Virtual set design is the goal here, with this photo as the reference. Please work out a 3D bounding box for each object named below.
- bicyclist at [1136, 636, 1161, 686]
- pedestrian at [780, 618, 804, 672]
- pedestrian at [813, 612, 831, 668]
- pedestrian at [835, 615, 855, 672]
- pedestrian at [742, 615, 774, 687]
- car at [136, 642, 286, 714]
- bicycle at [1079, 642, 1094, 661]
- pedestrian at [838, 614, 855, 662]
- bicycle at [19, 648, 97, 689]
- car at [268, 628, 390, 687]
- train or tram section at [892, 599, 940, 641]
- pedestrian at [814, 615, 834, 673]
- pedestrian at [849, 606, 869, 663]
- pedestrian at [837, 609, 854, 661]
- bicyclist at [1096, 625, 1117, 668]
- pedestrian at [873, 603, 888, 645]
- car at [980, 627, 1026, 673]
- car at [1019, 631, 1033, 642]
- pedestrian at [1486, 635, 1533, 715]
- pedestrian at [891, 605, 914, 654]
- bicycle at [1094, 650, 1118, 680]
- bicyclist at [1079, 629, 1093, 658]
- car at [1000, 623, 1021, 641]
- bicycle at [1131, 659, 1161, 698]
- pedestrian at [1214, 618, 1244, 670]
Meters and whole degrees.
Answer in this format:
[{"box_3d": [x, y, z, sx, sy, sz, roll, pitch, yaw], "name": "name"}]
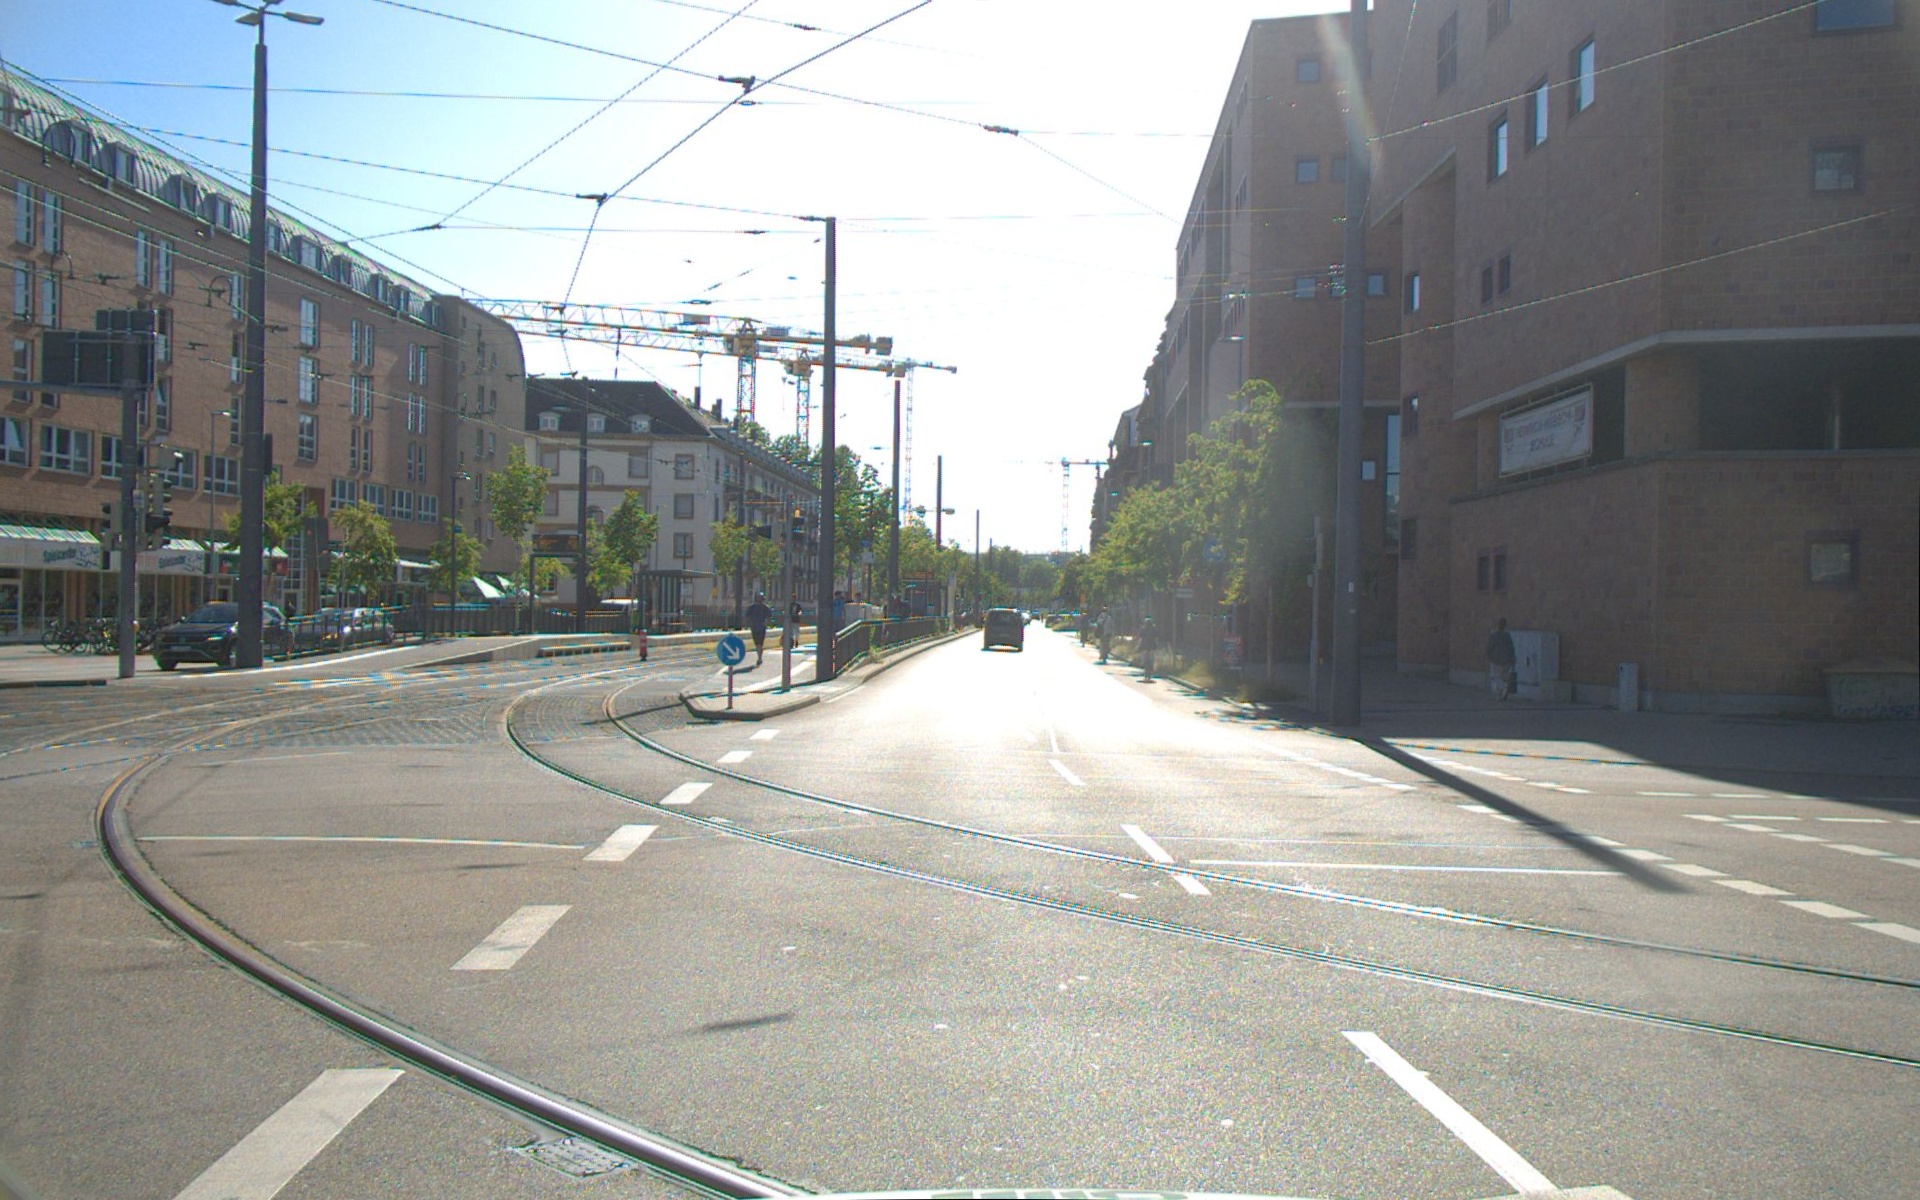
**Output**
[{"box_3d": [5.227, 1.678, 45.960, 0.580, 1.359, 0.933, 1, -1, 0], "name": "bicyclist"}, {"box_3d": [-5.031, 1.344, 49.607, 0.588, 1.594, 0.914, 1, -1, 0], "name": "pedestrian"}, {"box_3d": [-4.496, 1.311, 53.884, 0.527, 1.805, 0.633, 1, -1, 0], "name": "pedestrian"}, {"box_3d": [-3.434, 1.304, 49.471, 0.527, 1.684, 0.896, 1, -1, 0], "name": "pedestrian"}, {"box_3d": [-4.852, 1.213, 39.741, 0.602, 1.698, 0.864, -2, 0, -1], "name": "pedestrian"}, {"box_3d": [-17.548, 1.799, 38.939, 1.576, 1.422, 3.920, -3, 0, 2], "name": "car"}, {"box_3d": [6.941, 2.835, 90.760, 0.653, 1.002, 2.585, 1, -1, 0], "name": "bicycle"}, {"box_3d": [-3.990, 1.327, 58.198, 0.527, 1.684, 0.633, 1, -1, 0], "name": "pedestrian"}, {"box_3d": [-30.662, 2.311, 56.226, 2.431, 1.333, 0.734, 1, -1, 12], "name": "bicycle"}, {"box_3d": [-17.497, 1.555, 46.052, 1.576, 1.422, 4.228, -3, 0, 2], "name": "car"}, {"box_3d": [-3.400, 1.588, 131.621, 2.277, 3.056, 13.167, 2, -1, 5], "name": "train or tram section"}, {"box_3d": [-4.049, 1.308, 49.296, 0.500, 1.684, 0.761, 1, -1, 0], "name": "pedestrian"}, {"box_3d": [-3.023, 1.043, 49.652, 0.527, 1.684, 0.706, 1, -1, 0], "name": "pedestrian"}, {"box_3d": [-3.529, 1.085, 51.051, 0.508, 1.578, 0.600, 1, -1, -2], "name": "pedestrian"}, {"box_3d": [5.329, 1.692, 60.162, 0.653, 1.554, 0.707, 1, -1, 0], "name": "bicyclist"}, {"box_3d": [-3.248, 0.972, 67.626, 0.588, 1.684, 0.666, 1, -1, 0], "name": "pedestrian"}, {"box_3d": [1.903, 2.197, 73.761, 1.953, 1.982, 4.000, 1, -1, 0], "name": "car"}, {"box_3d": [9.167, 5.003, 229.466, 1.952, 1.445, 4.001, 1, -1, 2], "name": "car"}, {"box_3d": [11.121, 1.506, 33.491, 0.605, 1.590, 0.986, 1, -1, 0], "name": "pedestrian"}, {"box_3d": [-2.081, 1.060, 59.582, 0.705, 1.766, 0.599, 1, -1, -17], "name": "pedestrian"}, {"box_3d": [5.324, 2.352, 60.278, 0.653, 1.002, 2.585, 1, -1, 0], "name": "bicycle"}, {"box_3d": [6.931, 2.385, 90.918, 0.653, 1.554, 0.707, 1, -1, 0], "name": "bicyclist"}, {"box_3d": [5.063, 3.201, 166.653, 1.953, 1.758, 3.999, 1, -1, 0], "name": "car"}, {"box_3d": [5.221, 2.195, 46.516, 0.590, 1.002, 2.314, 1, -1, 0], "name": "bicycle"}, {"box_3d": [9.106, 1.495, 56.069, 0.862, 1.747, 0.931, 1, -1, 0], "name": "pedestrian"}]
